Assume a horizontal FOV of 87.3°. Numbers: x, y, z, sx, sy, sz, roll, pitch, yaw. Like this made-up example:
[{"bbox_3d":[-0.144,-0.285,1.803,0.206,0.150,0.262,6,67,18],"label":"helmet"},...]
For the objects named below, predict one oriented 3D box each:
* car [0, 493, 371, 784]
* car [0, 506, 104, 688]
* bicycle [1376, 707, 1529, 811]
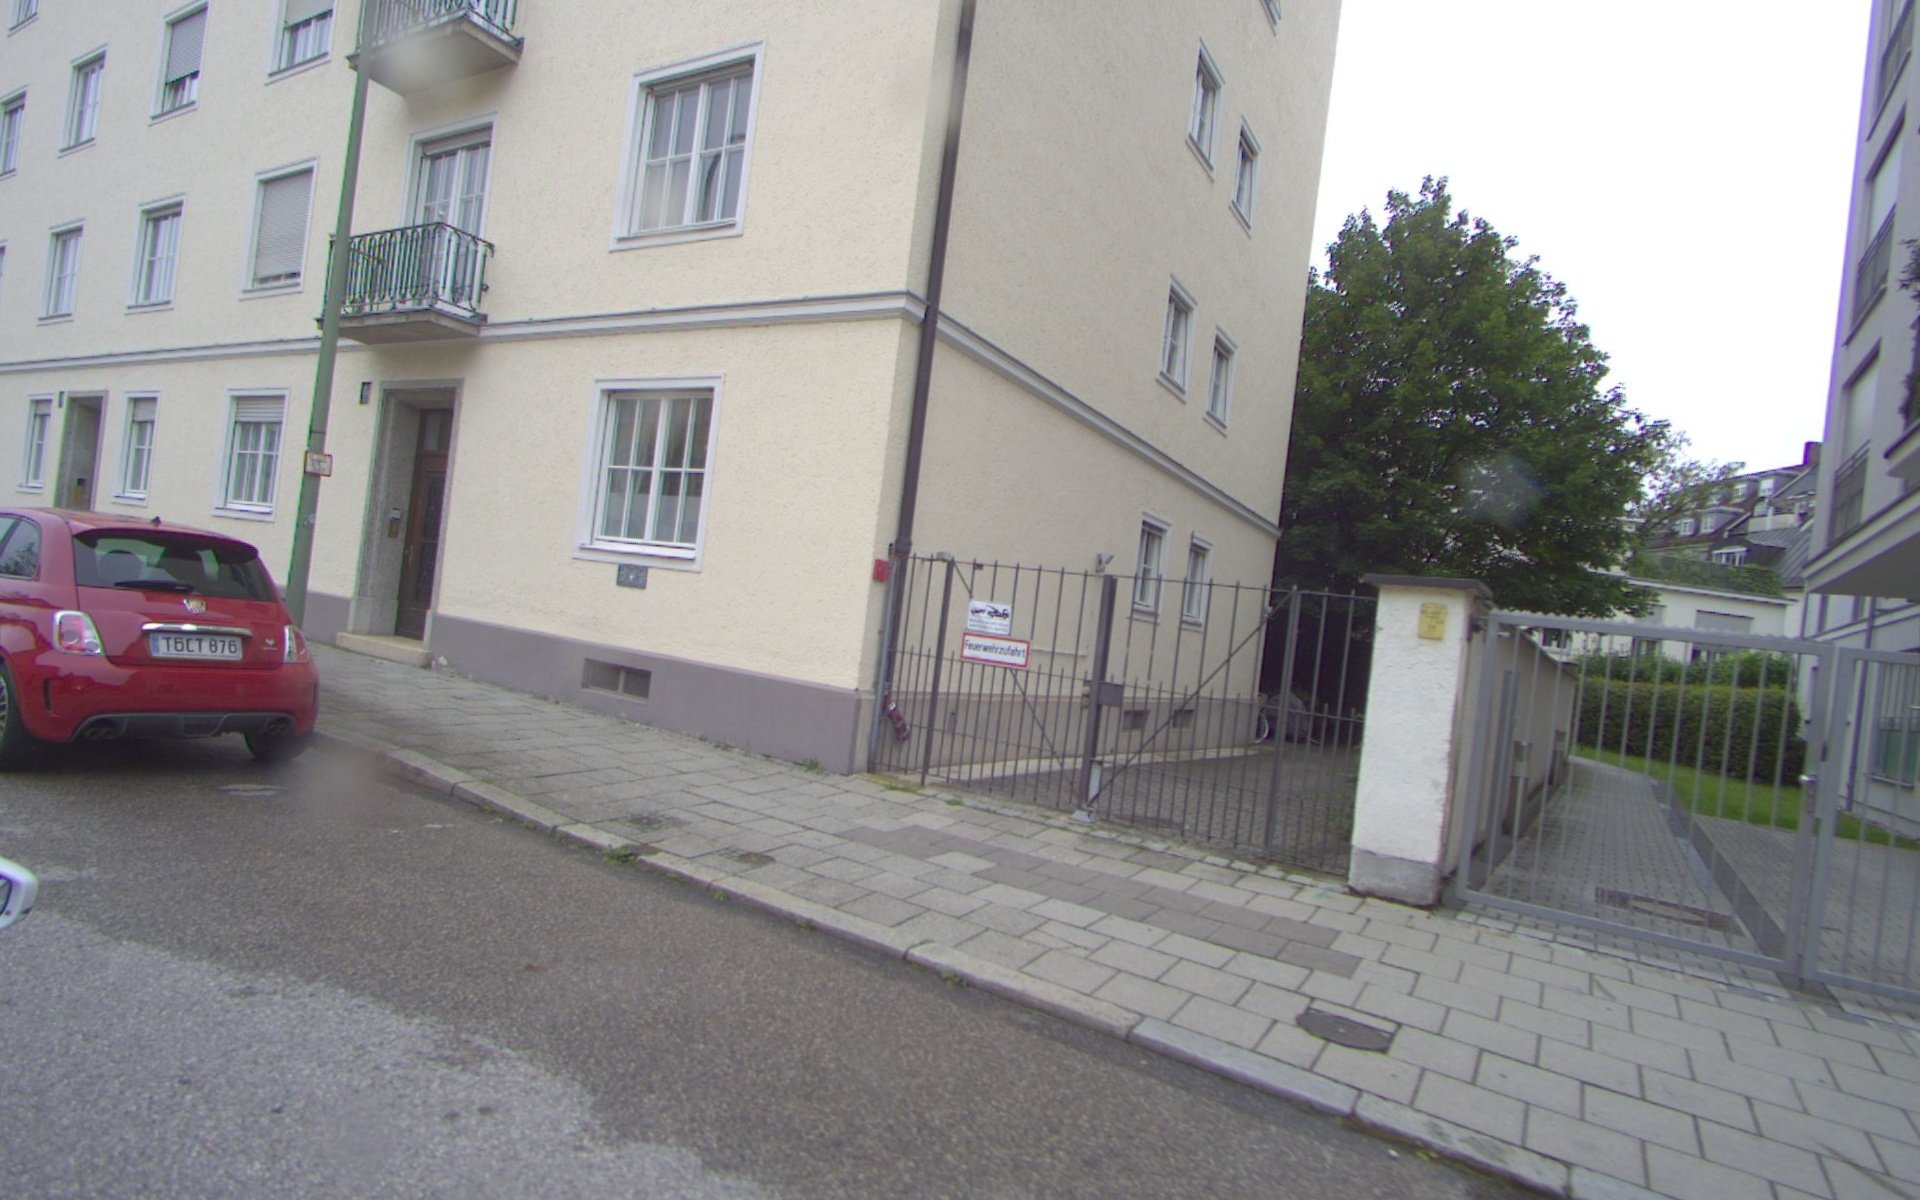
[{"bbox_3d":[-5.986,0.110,6.890,3.692,1.446,1.659,8,-2,31],"label":"car"},{"bbox_3d":[-10.125,-0.309,9.388,4.537,1.446,1.777,8,-2,31],"label":"car"},{"bbox_3d":[7.870,2.511,16.093,1.990,1.237,0.882,8,-2,31],"label":"bicycle"}]
